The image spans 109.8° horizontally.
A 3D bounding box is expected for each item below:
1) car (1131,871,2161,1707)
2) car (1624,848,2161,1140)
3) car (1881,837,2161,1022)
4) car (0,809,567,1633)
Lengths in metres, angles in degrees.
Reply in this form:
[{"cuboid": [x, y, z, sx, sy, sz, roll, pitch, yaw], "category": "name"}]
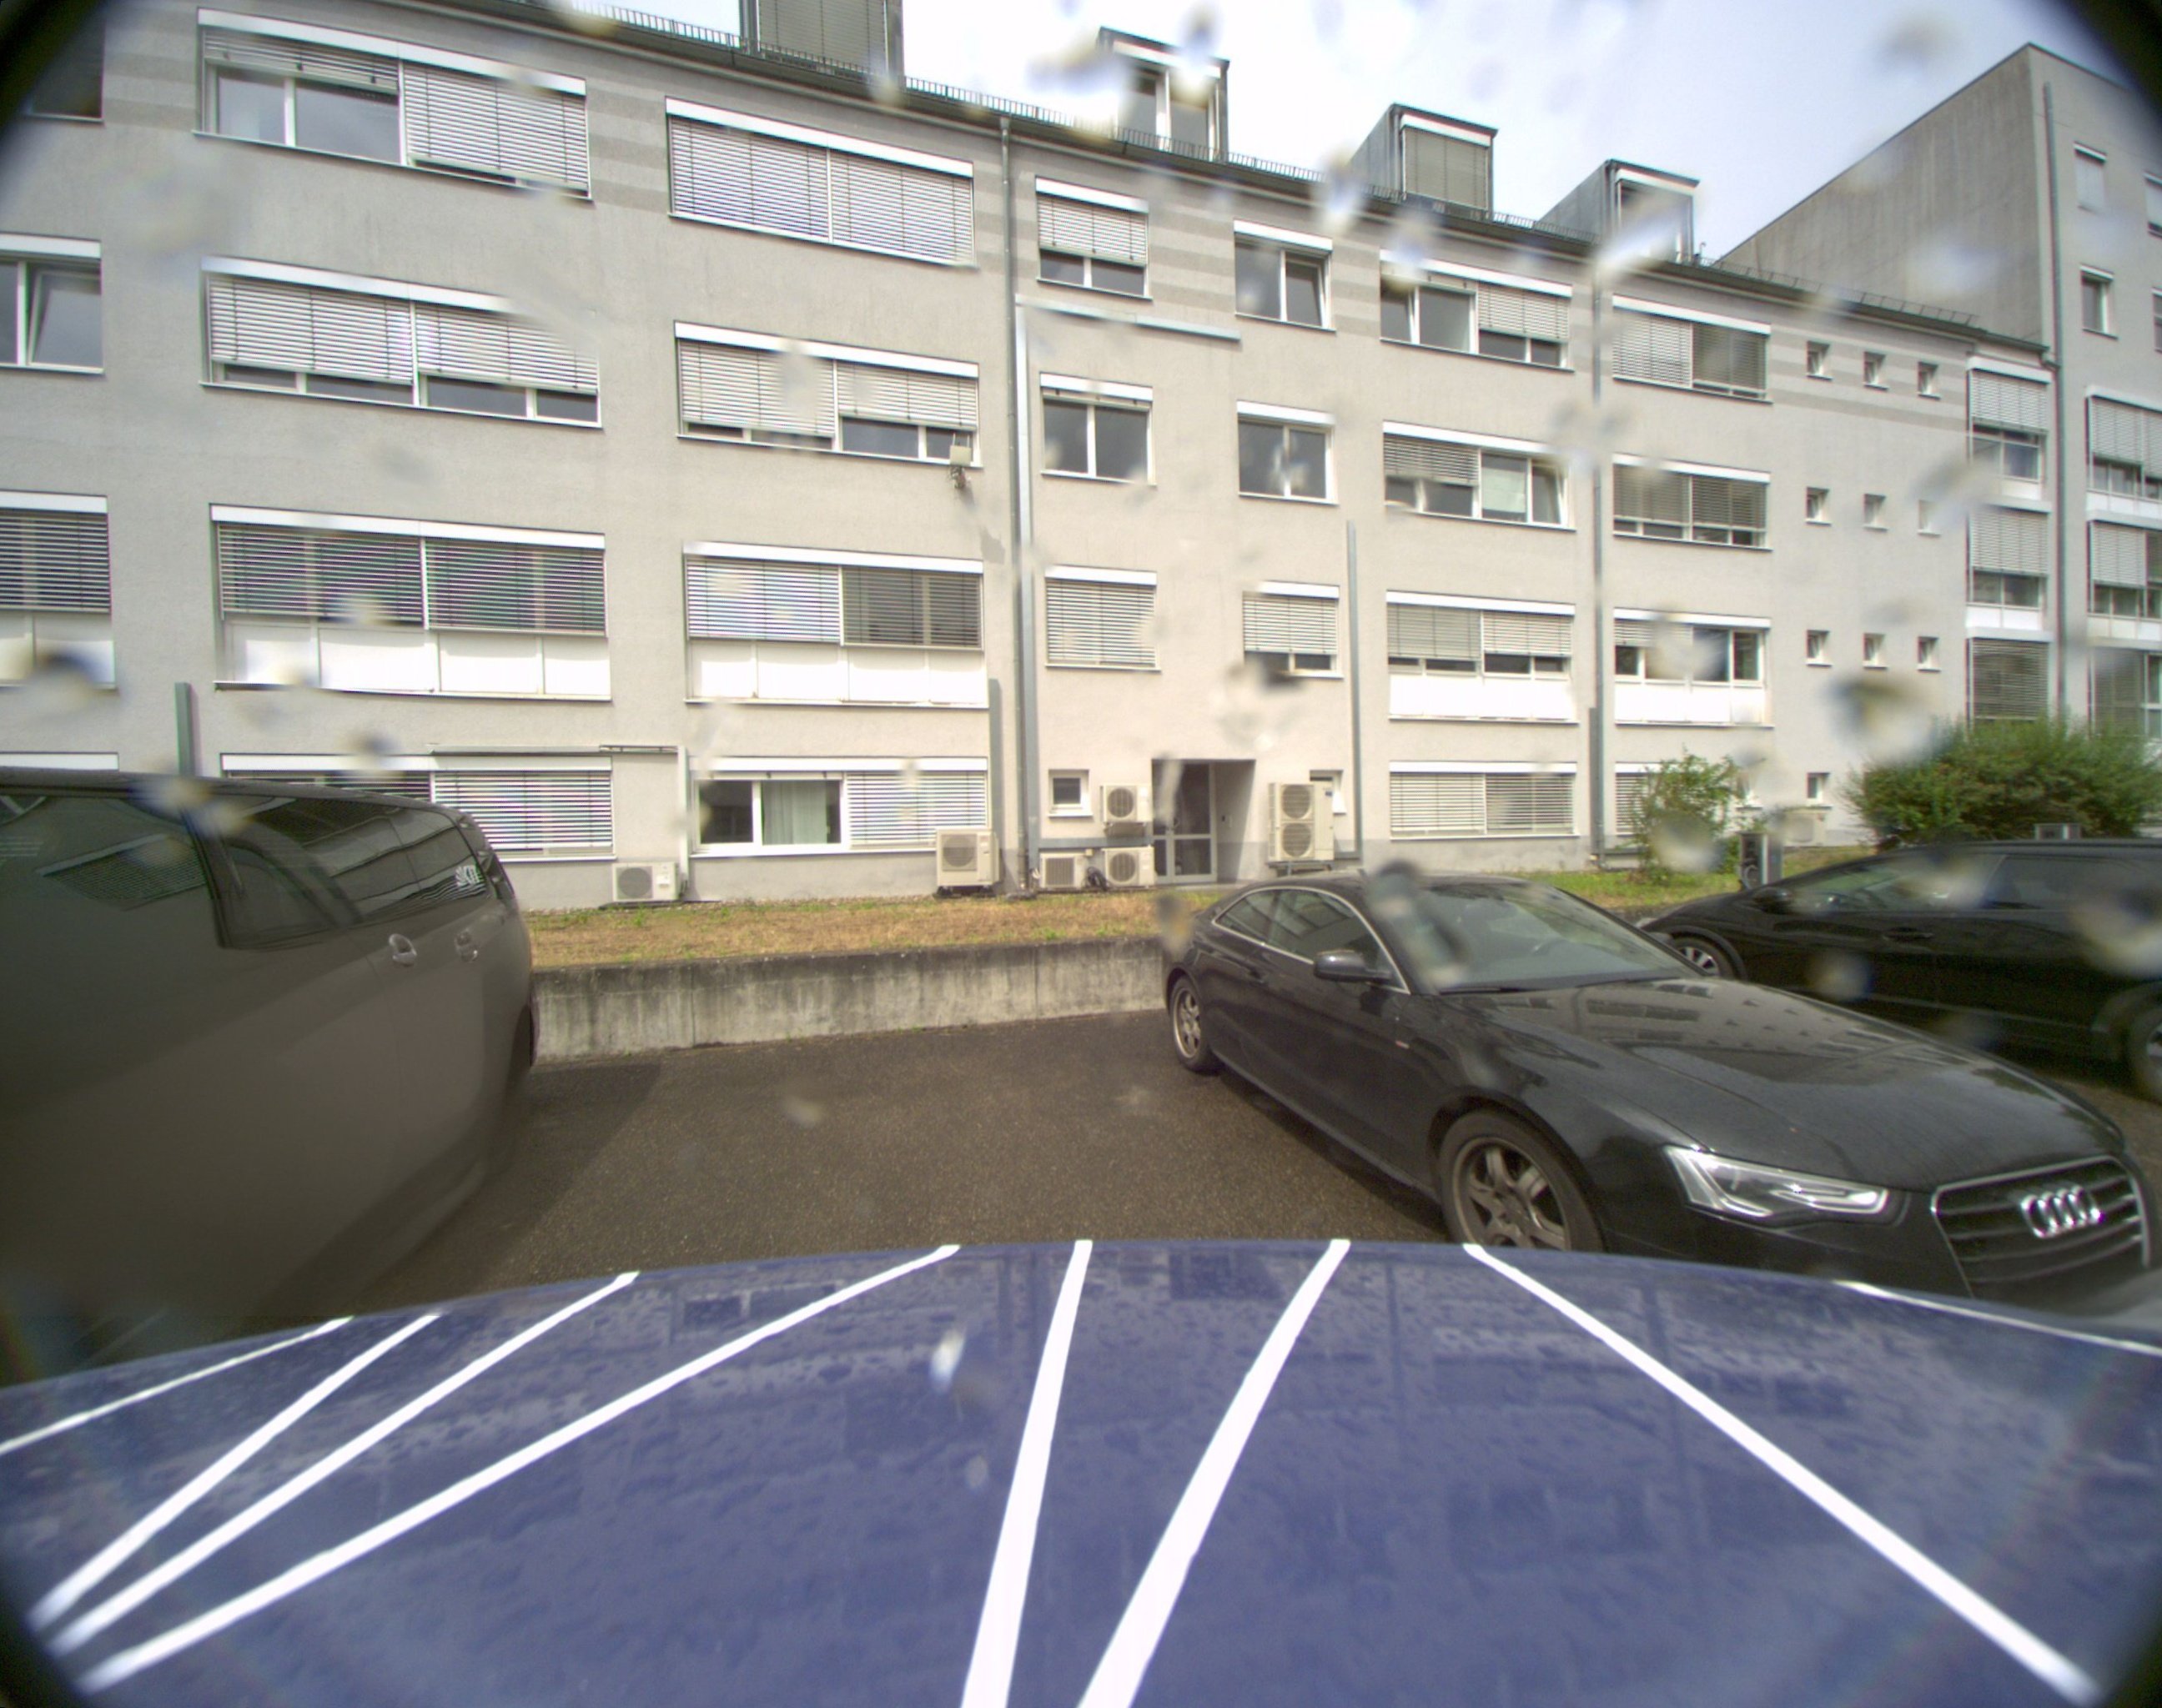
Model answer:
[{"cuboid": [1.803, 0.898, 3.851, 1.764, 1.344, 4.522, -2, 2, -14], "category": "car"}, {"cuboid": [6.319, 0.740, 5.023, 1.764, 1.434, 4.309, -2, 2, -15], "category": "car"}, {"cuboid": [9.586, 0.611, 6.055, 1.697, 1.434, 4.119, -2, 2, -13], "category": "car"}, {"cuboid": [-3.649, 0.838, 2.298, 1.971, 1.854, 4.740, -2, 2, -15], "category": "car"}]
